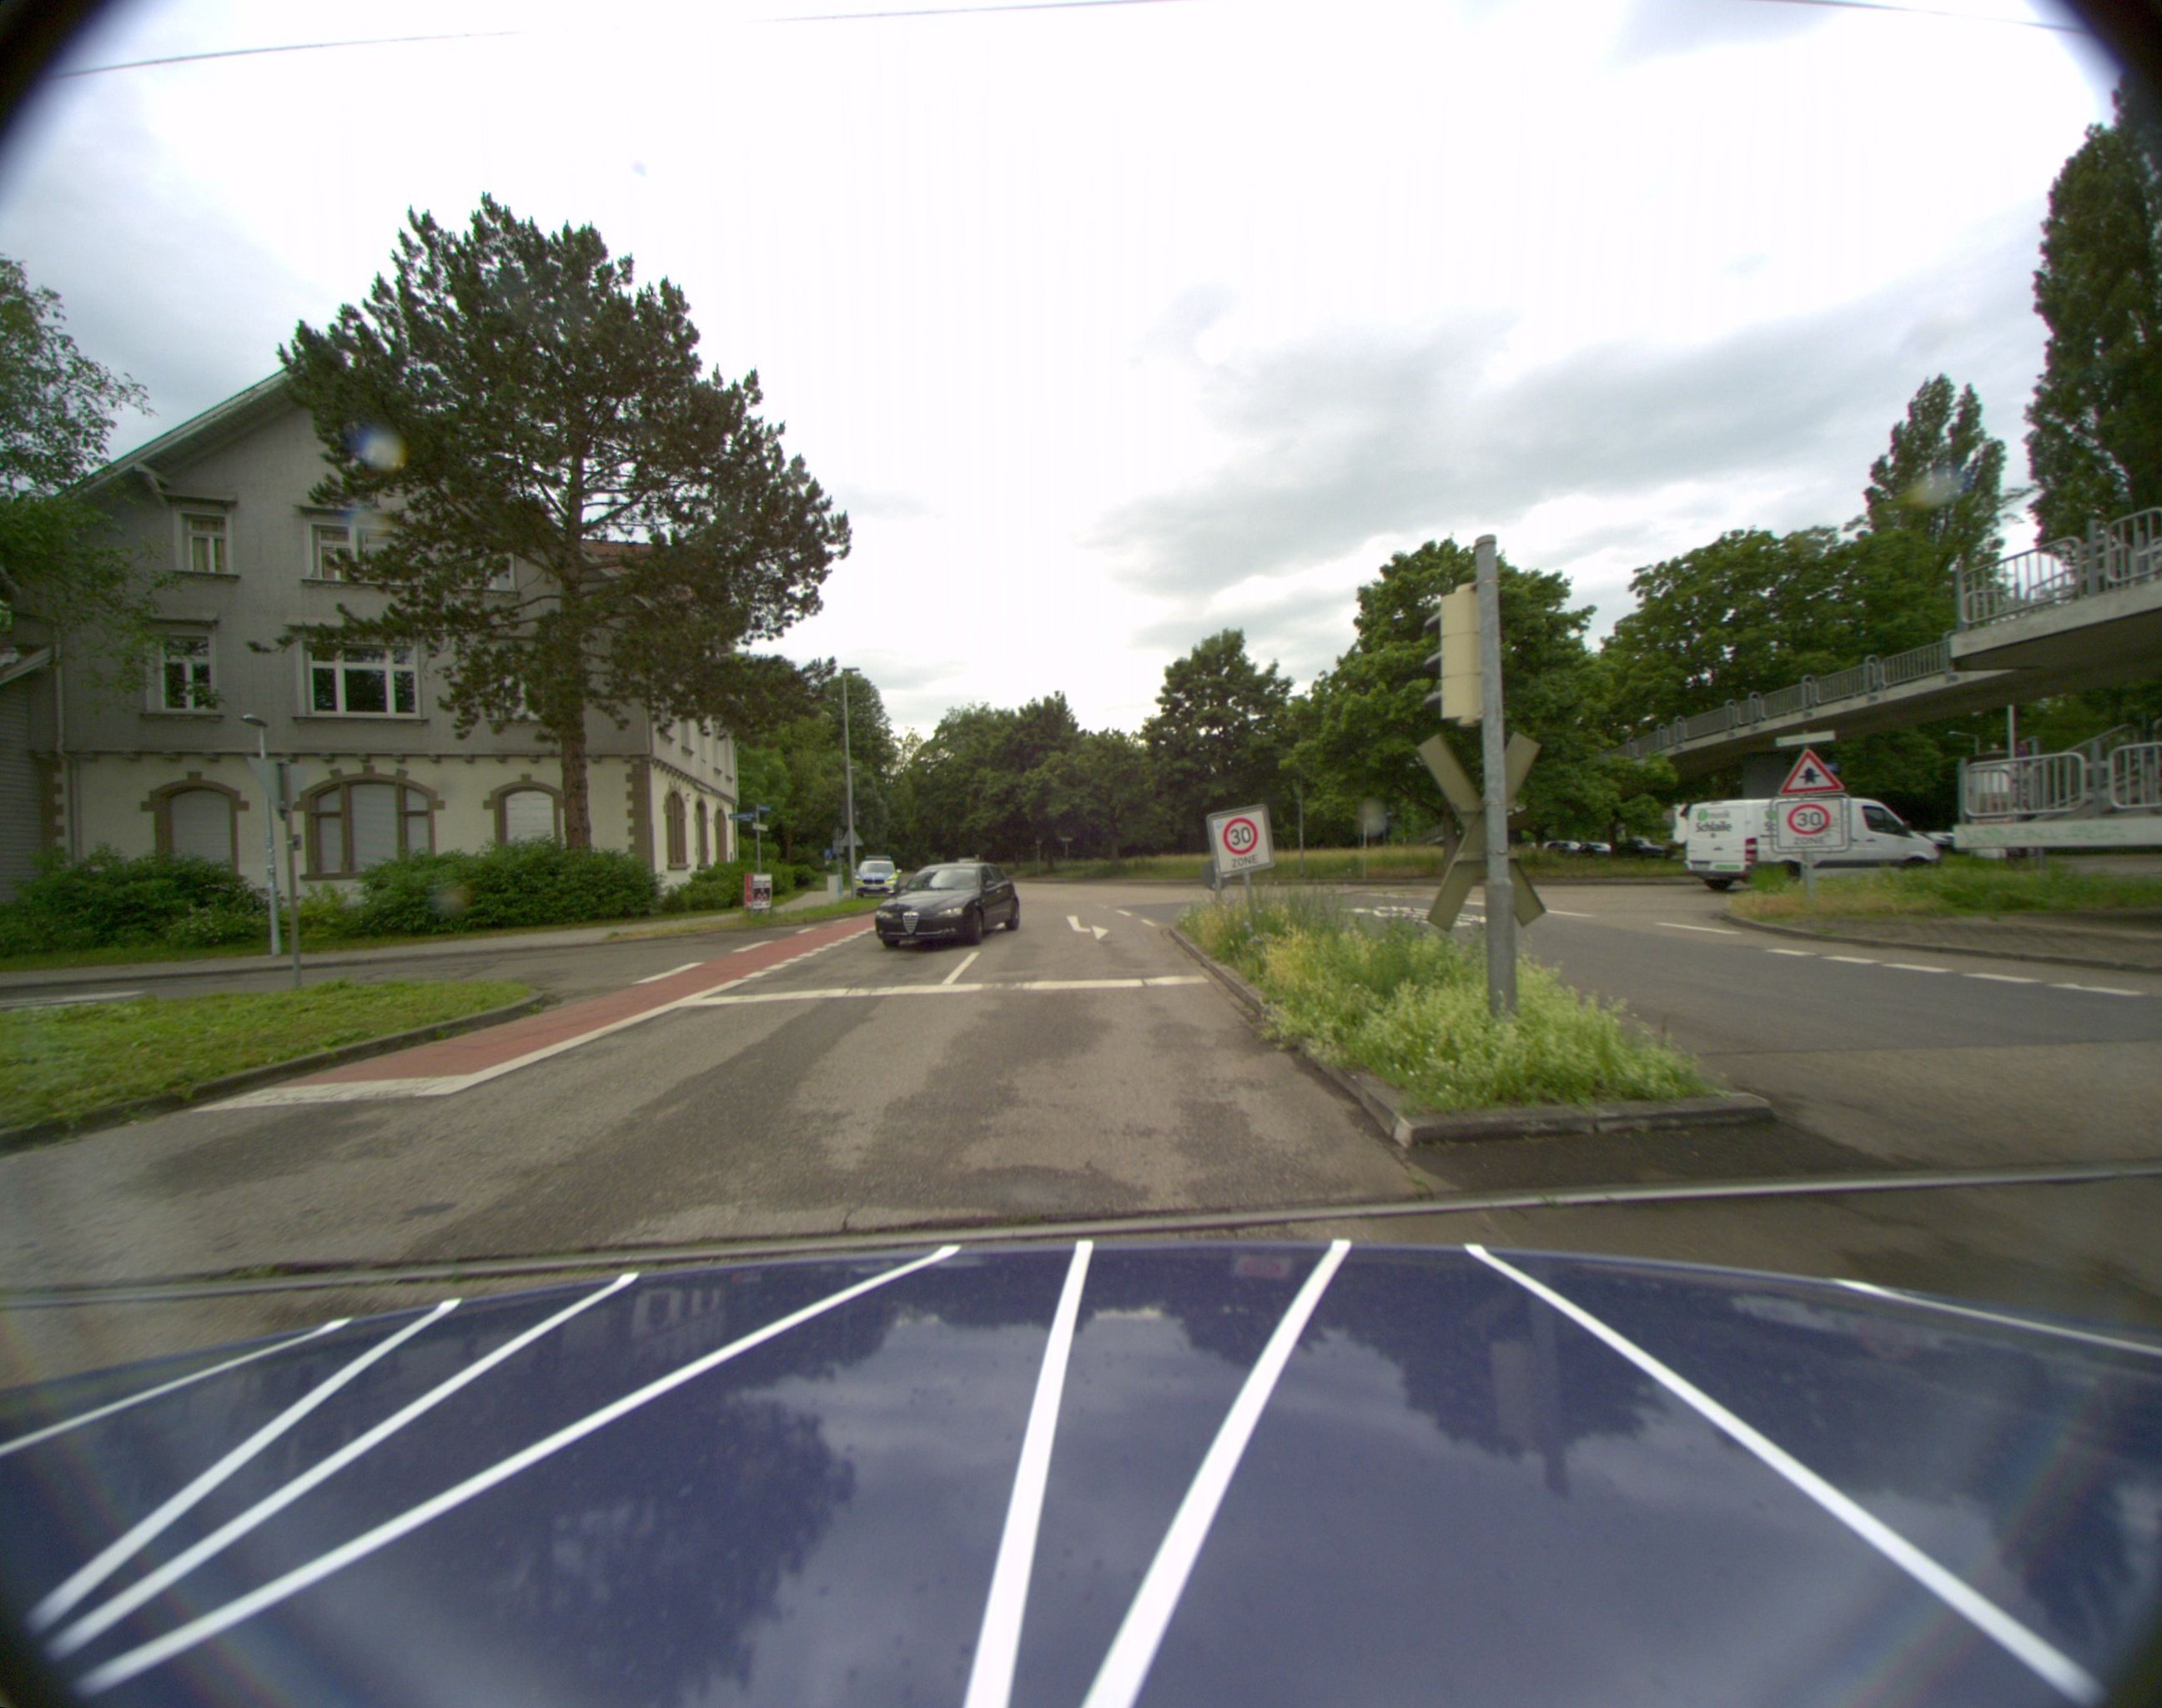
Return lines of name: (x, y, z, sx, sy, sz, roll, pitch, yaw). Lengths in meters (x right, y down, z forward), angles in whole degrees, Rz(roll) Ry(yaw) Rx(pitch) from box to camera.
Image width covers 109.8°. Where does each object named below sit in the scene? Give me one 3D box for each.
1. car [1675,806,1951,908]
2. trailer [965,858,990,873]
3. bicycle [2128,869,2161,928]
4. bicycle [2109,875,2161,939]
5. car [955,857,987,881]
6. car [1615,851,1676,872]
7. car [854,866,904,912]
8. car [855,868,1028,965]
car: (18.580, 0.068, 19.446, 5.206, 2.279, 2.140, -2, 0, -5)
trailer: (-7.970, 0.879, 58.551, 1.572, 0.980, 3.460, -2, 1, -13)
bicycle: (17.254, 0.662, 11.691, 1.640, 0.880, 0.394, -2, 0, 3)
bicycle: (15.847, 0.742, 10.869, 1.640, 0.880, 0.394, -2, 0, 3)
car: (-9.023, 1.214, 62.224, 2.096, 1.846, 4.216, -2, 0, -15)
car: (39.871, 0.511, 53.775, 1.692, 1.343, 4.003, -2, -1, 8)
car: (-8.688, 1.465, 32.757, 1.938, 1.839, 3.995, 1, -1, -14)
car: (-2.388, 1.039, 14.326, 1.801, 1.448, 4.544, -2, -1, 8)
